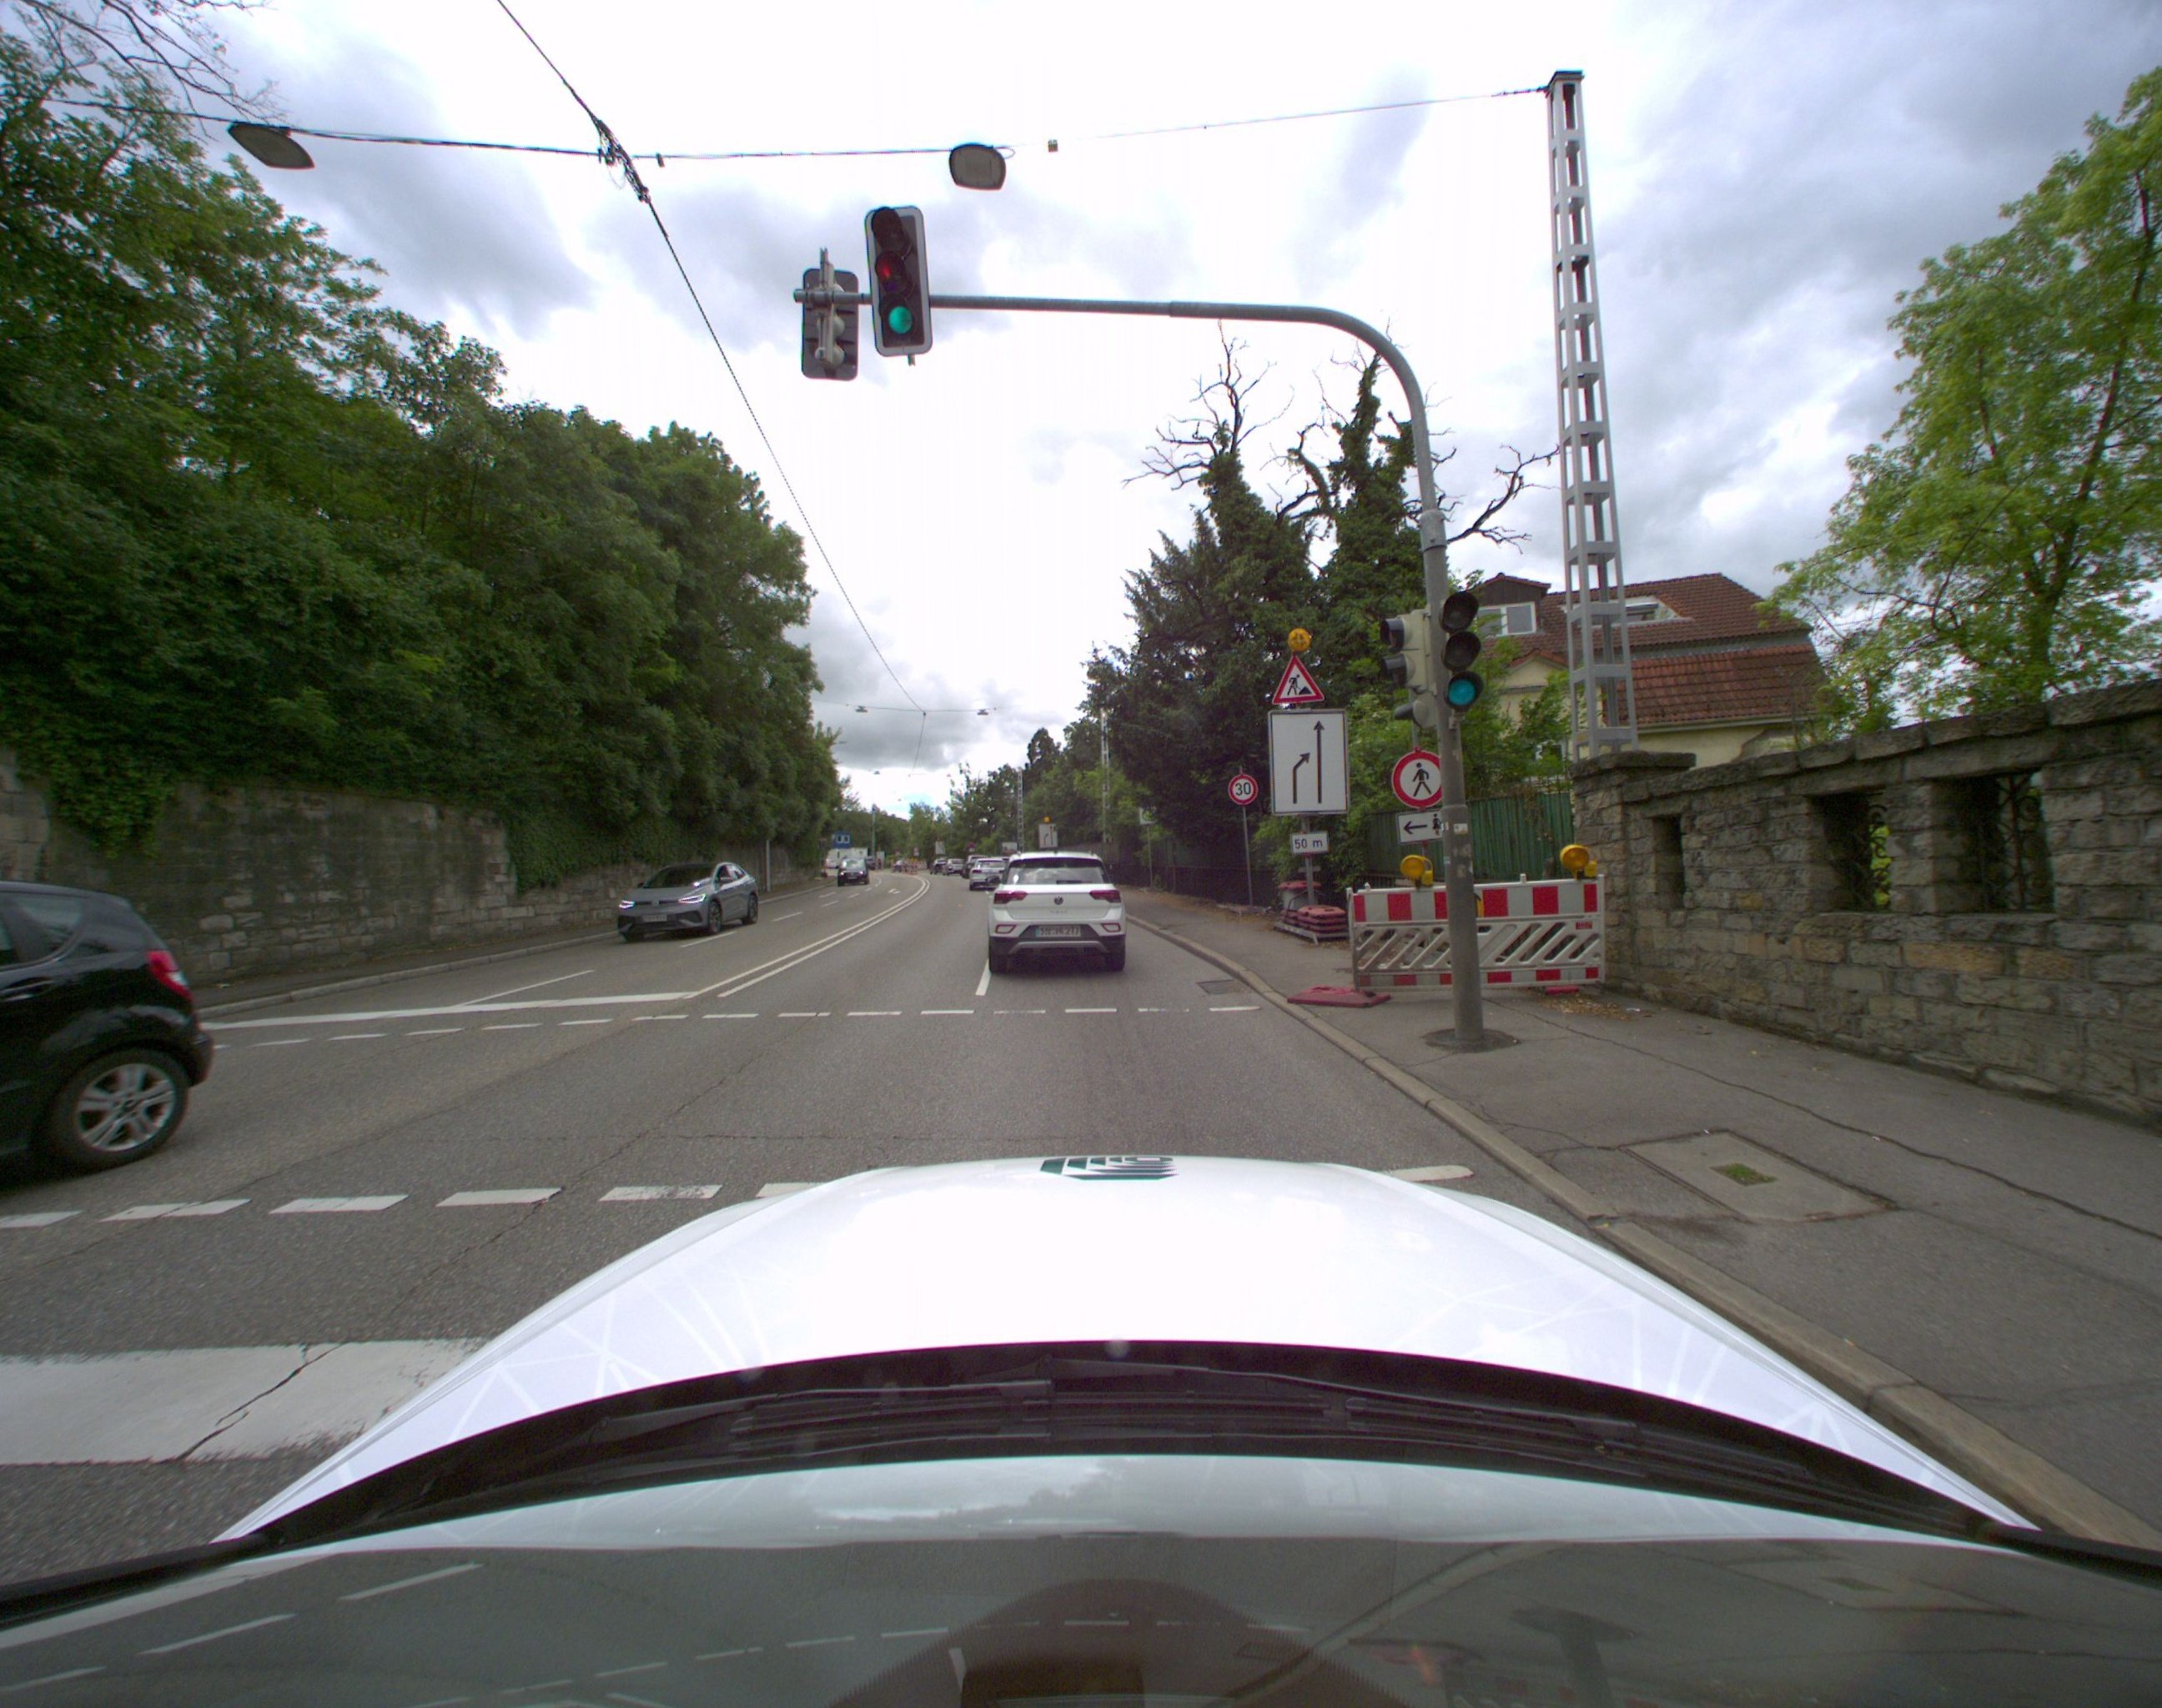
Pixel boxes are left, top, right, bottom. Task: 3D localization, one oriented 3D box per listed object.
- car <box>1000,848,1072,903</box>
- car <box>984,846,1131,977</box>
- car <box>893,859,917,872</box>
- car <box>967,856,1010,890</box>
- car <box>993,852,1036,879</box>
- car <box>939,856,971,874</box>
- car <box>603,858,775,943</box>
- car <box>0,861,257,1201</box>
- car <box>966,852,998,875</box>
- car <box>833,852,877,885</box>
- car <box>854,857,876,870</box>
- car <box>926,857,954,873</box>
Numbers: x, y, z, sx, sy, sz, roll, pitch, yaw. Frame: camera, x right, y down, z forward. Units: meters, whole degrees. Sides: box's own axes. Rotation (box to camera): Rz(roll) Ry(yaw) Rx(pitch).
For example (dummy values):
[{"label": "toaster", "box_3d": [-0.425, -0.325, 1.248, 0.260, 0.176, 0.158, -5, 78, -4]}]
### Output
[{"label": "car", "box_3d": [-1.519, 0.665, 26.004, 1.759, 1.609, 3.780, 0, -1, -12]}, {"label": "car", "box_3d": [-0.379, 0.709, 11.641, 1.754, 1.556, 3.790, 0, -1, -3]}, {"label": "car", "box_3d": [-20.907, 1.420, 96.653, 1.790, 1.454, 3.965, -1, -1, -26]}, {"label": "car", "box_3d": [-4.304, 0.844, 37.493, 1.758, 1.471, 3.782, 0, -1, -10]}, {"label": "car", "box_3d": [-3.862, 0.704, 46.780, 1.994, 1.414, 4.134, -2, -1, -11]}, {"label": "car", "box_3d": [-10.837, 0.989, 69.764, 1.999, 1.450, 4.124, -1, -1, -18]}, {"label": "car", "box_3d": [-8.870, 0.968, 18.937, 1.990, 1.607, 4.469, -4, 0, -4]}, {"label": "car", "box_3d": [-5.895, 0.868, 3.085, 1.749, 1.566, 3.677, -3, 0, -1]}, {"label": "car", "box_3d": [-7.068, 0.659, 57.737, 1.994, 1.556, 4.135, -1, 0, -11]}, {"label": "car", "box_3d": [-13.854, 0.876, 50.201, 1.741, 1.845, 4.241, -4, 0, -5]}, {"label": "car", "box_3d": [-29.426, 1.250, 110.919, 1.852, 1.699, 3.962, -2, 0, -29]}, {"label": "car", "box_3d": [-13.718, 1.102, 79.205, 2.000, 1.450, 4.123, -1, -1, -19]}]
